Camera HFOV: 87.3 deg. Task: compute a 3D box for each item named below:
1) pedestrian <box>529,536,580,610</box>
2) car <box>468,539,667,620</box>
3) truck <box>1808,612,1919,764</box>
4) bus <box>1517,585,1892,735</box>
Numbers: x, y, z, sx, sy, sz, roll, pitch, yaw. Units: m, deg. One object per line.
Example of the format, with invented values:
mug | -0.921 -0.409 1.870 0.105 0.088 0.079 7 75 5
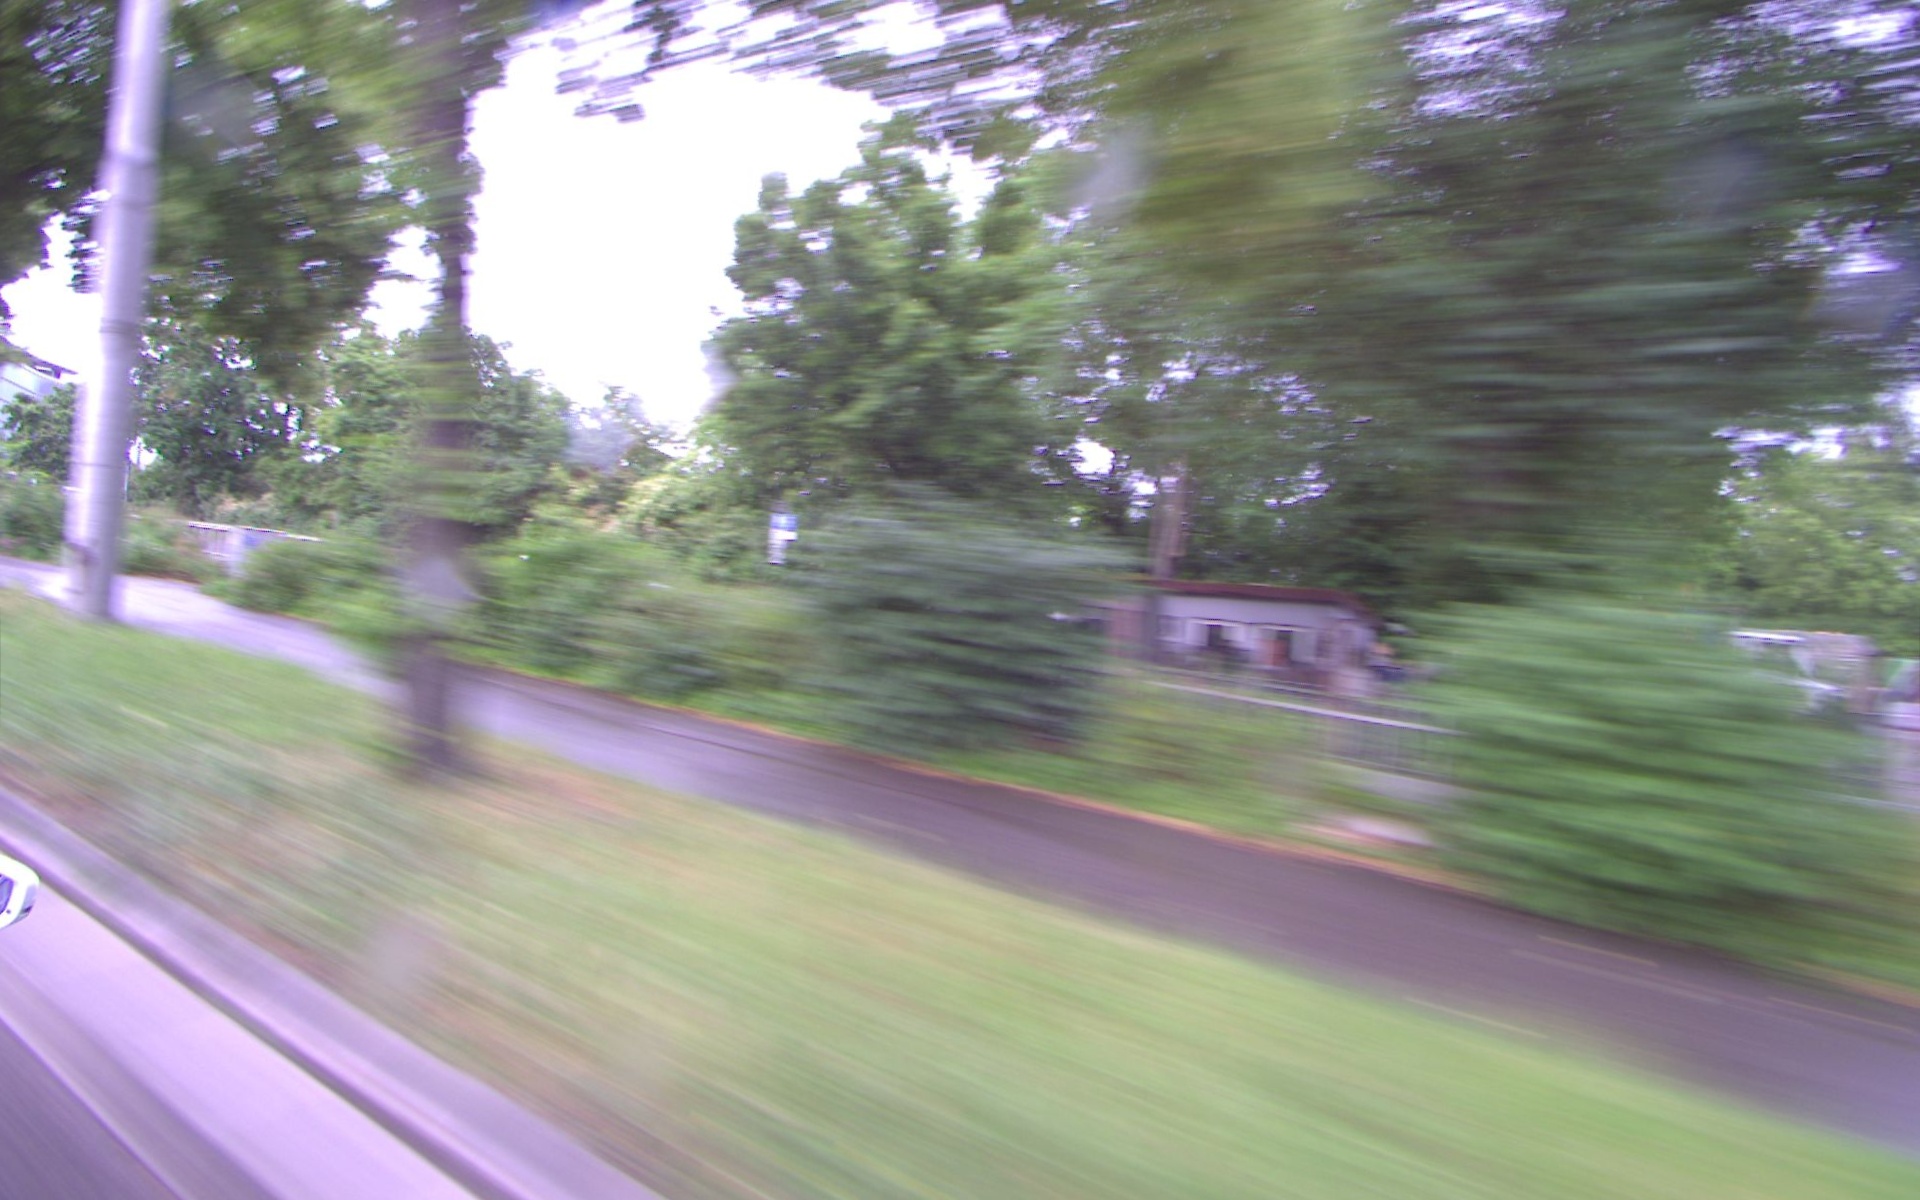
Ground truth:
pedestrian | -10.409 -0.696 25.882 0.927 1.795 0.894 5 3 -9
car | -10.574 -0.539 27.427 4.571 1.599 1.997 7 0 -9
truck | 20.844 2.011 19.249 2.040 2.904 6.543 6 1 -34
bus | 18.255 1.380 25.242 7.057 2.735 2.251 7 1 37
